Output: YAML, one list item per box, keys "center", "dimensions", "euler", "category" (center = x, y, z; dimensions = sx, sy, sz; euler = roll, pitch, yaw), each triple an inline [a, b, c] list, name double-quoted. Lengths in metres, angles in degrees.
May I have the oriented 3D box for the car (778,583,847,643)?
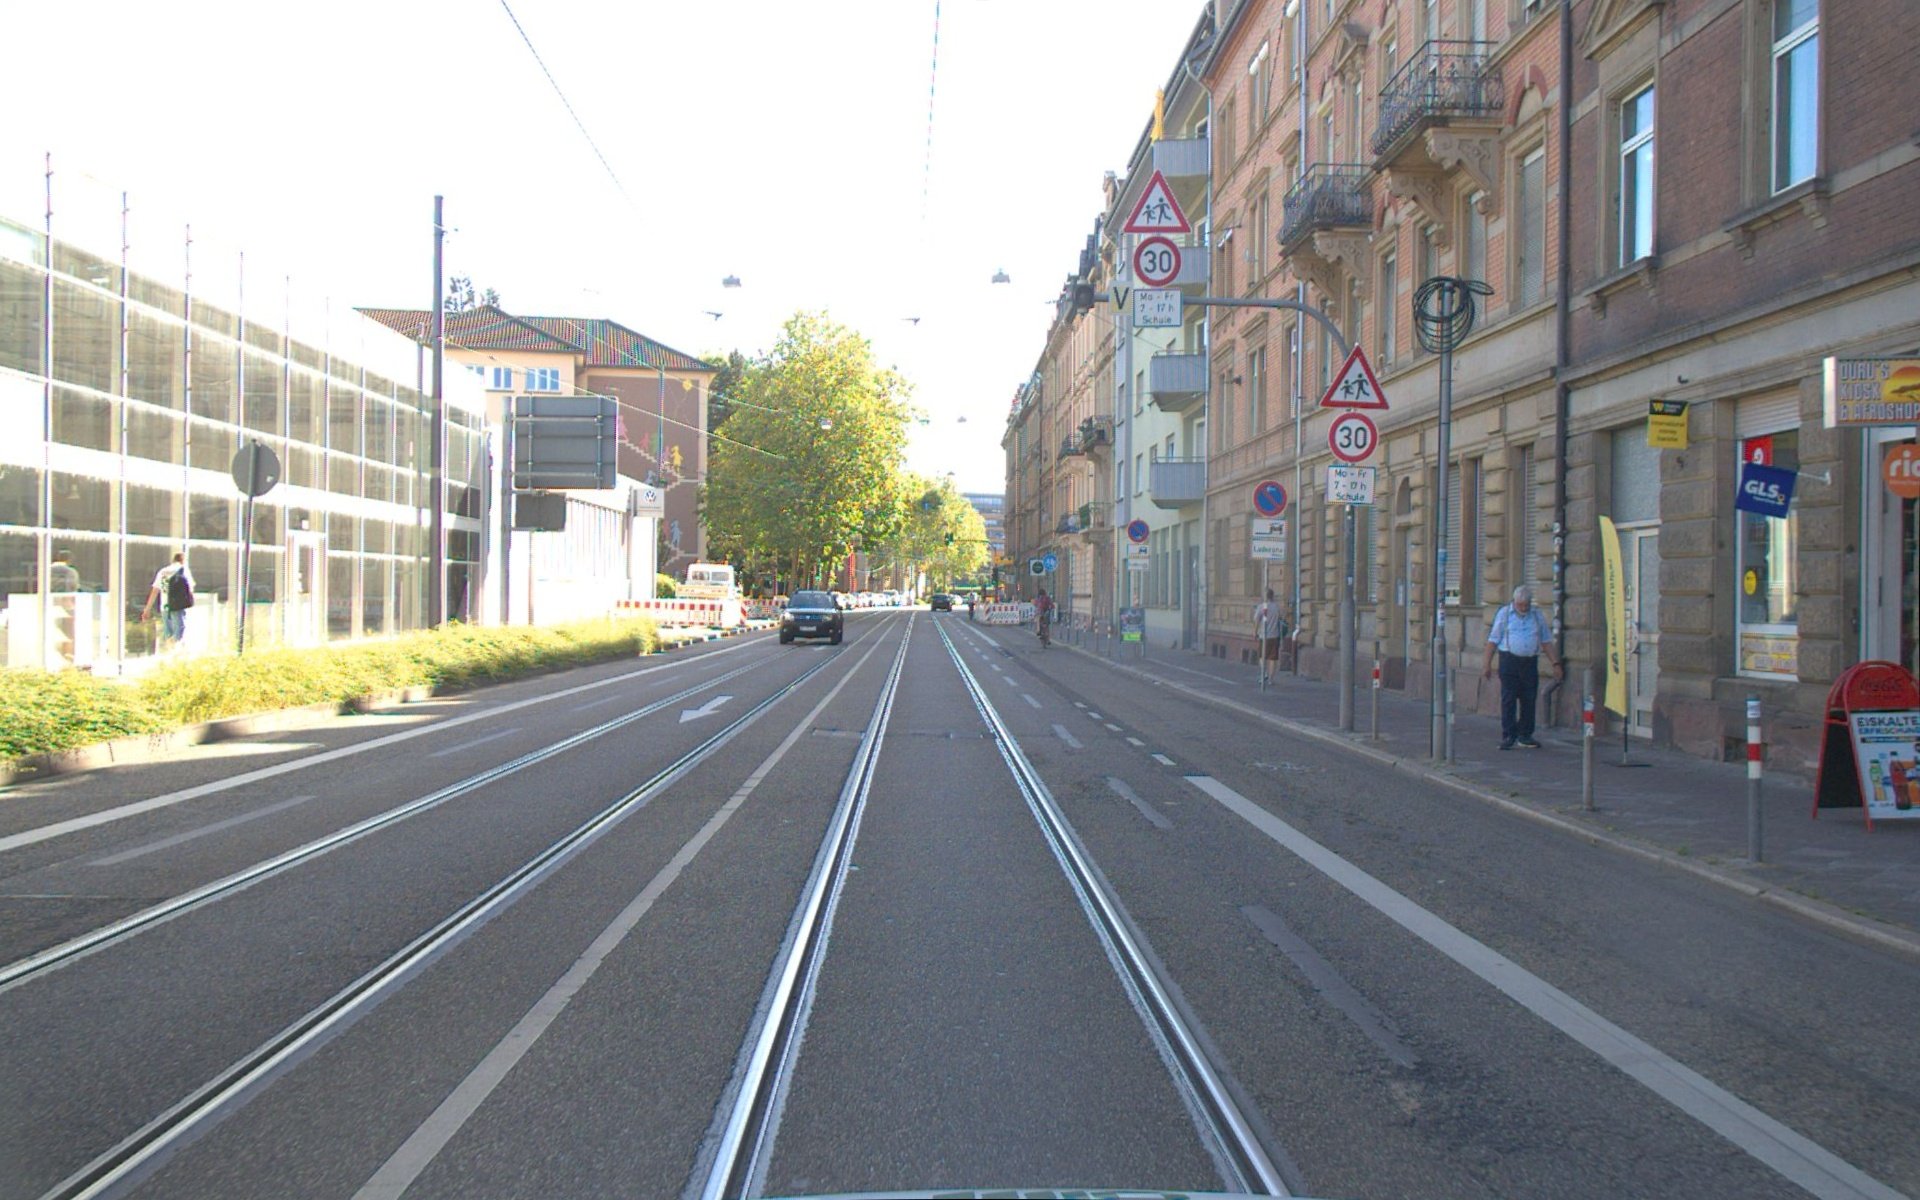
- center: [-4.541, 0.401, 51.301]
  dimensions: [1.723, 1.726, 4.143]
  euler: [2, -1, 0]
  category: "car"

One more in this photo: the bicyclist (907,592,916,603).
- center: [-6.753, -0.296, 231.500]
  dimensions: [1.054, 1.452, 1.147]
  euler: [2, -1, 7]
  category: "bicyclist"

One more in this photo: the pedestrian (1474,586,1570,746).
- center: [5.868, 0.677, 17.300]
  dimensions: [0.781, 1.633, 0.652]
  euler: [1, -1, 1]
  category: "pedestrian"

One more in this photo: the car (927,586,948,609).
- center: [-2.166, -0.250, 158.434]
  dimensions: [1.953, 2.049, 3.999]
  euler: [2, -1, -1]
  category: "car"

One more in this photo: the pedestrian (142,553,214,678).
- center: [-11.553, 0.225, 24.454]
  dimensions: [0.516, 1.795, 1.050]
  euler: [2, -1, -2]
  category: "pedestrian"

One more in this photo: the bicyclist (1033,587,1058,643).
- center: [2.701, 0.472, 52.212]
  dimensions: [0.653, 1.726, 1.042]
  euler: [2, -1, -2]
  category: "bicyclist"

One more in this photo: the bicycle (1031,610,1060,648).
- center: [2.692, 0.889, 52.283]
  dimensions: [0.667, 1.134, 2.706]
  euler: [2, 0, -2]
  category: "bicycle"

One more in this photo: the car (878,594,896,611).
- center: [-9.340, 0.303, 211.347]
  dimensions: [2.016, 2.088, 4.044]
  euler: [2, -1, 1]
  category: "car"

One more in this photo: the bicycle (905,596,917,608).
- center: [-6.821, 0.325, 231.534]
  dimensions: [1.208, 1.600, 2.899]
  euler: [2, -1, 6]
  category: "bicycle"

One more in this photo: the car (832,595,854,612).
- center: [-11.115, 0.319, 157.545]
  dimensions: [1.712, 1.536, 4.044]
  euler: [2, -1, 1]
  category: "car"

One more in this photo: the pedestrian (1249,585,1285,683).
- center: [5.502, 0.598, 29.653]
  dimensions: [0.541, 1.730, 0.474]
  euler: [-1, -1, 3]
  category: "pedestrian"

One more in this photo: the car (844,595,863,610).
- center: [-11.612, 0.264, 180.482]
  dimensions: [1.712, 1.521, 4.044]
  euler: [2, -1, 1]
  category: "car"

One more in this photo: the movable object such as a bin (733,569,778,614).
- center: [-13.262, -0.542, 107.657]
  dimensions: [2.446, 2.691, 5.984]
  euler: [2, 0, -4]
  category: "movable object such as a bin"

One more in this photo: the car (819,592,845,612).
- center: [-10.975, 0.211, 142.015]
  dimensions: [1.712, 1.636, 4.044]
  euler: [2, -1, 1]
  category: "car"

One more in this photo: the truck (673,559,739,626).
- center: [-11.682, -0.328, 76.544]
  dimensions: [2.489, 2.879, 6.369]
  euler: [2, -1, -5]
  category: "truck"
